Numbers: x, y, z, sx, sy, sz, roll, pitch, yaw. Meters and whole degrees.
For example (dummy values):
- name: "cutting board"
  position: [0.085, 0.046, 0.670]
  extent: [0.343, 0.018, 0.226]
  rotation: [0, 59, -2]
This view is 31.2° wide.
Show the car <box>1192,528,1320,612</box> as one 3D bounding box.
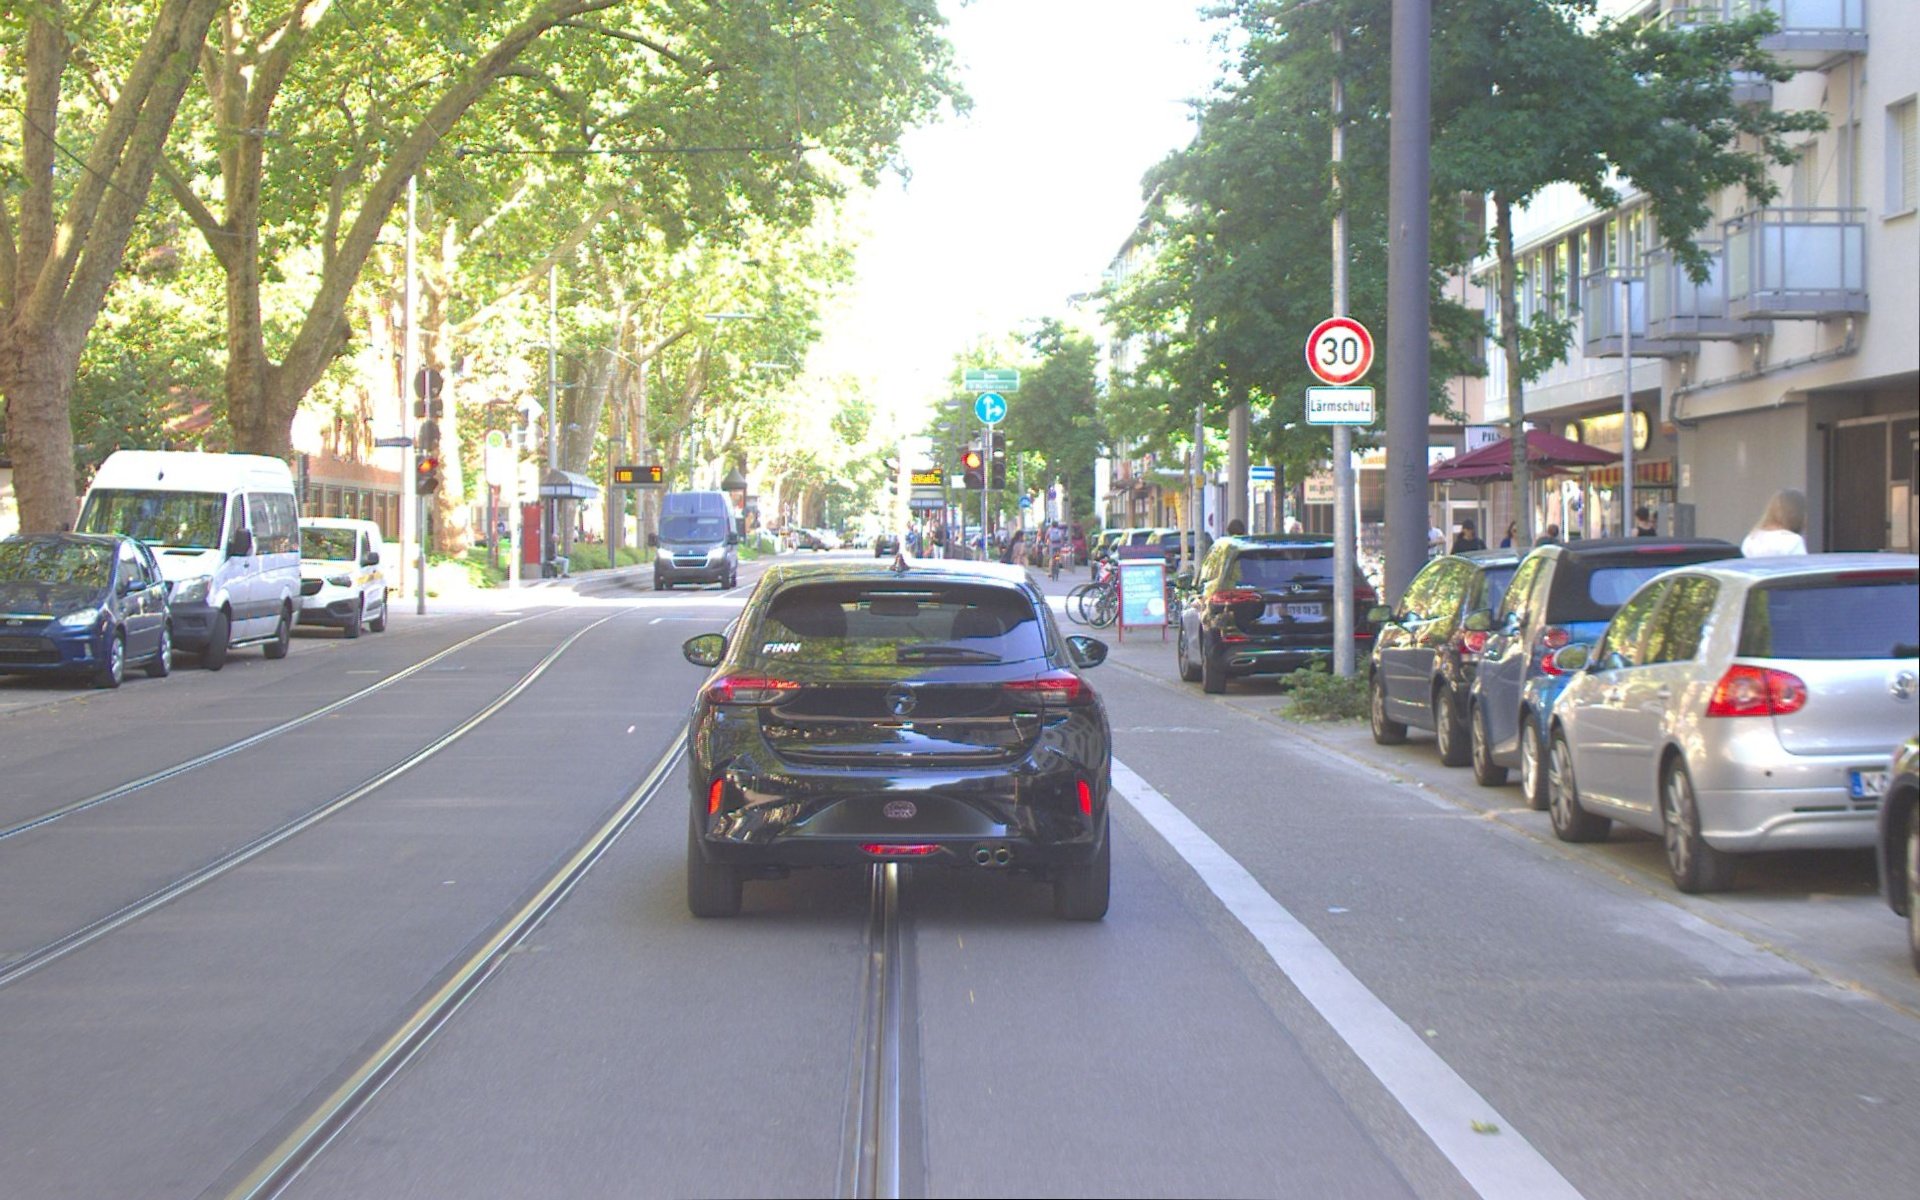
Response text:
- name: "car"
  position: [5.997, -0.622, 69.341]
  extent: [1.995, 1.634, 3.998]
  rotation: [1, 1, 13]

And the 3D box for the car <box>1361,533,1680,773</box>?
- name: "car"
  position: [3.907, 0.314, 24.504]
  extent: [1.718, 1.568, 3.682]
  rotation: [0, 1, 1]

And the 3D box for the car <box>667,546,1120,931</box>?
- name: "car"
  position: [-0.293, 0.503, 14.931]
  extent: [1.679, 1.417, 3.628]
  rotation: [2, 1, -1]

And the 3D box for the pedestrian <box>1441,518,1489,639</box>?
- name: "pedestrian"
  position: [7.254, -0.316, 49.383]
  extent: [0.629, 1.727, 0.632]
  rotation: [0, 1, 4]

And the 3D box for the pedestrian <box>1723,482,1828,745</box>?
- name: "pedestrian"
  position: [5.188, 0.078, 21.860]
  extent: [0.600, 1.646, 0.630]
  rotation: [1, 1, 16]

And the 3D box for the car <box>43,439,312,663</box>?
- name: "car"
  position: [-9.624, -0.626, 42.769]
  extent: [2.092, 2.575, 5.997]
  rotation: [0, 1, -1]

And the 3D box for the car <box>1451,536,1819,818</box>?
- name: "car"
  position: [3.993, 0.403, 20.769]
  extent: [1.651, 1.568, 3.083]
  rotation: [0, 1, 1]

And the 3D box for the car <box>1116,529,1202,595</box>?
- name: "car"
  position: [5.268, -1.021, 91.392]
  extent: [1.993, 1.700, 4.000]
  rotation: [0, 1, -1]

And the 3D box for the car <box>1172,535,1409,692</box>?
- name: "car"
  position: [3.316, 0.092, 35.212]
  extent: [1.993, 1.503, 4.000]
  rotation: [0, 1, -1]

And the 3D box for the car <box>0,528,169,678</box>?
- name: "car"
  position: [-9.626, -0.012, 36.618]
  extent: [1.754, 1.503, 4.001]
  rotation: [0, 1, -4]

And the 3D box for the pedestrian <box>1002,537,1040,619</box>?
- name: "pedestrian"
  position: [1.187, -0.442, 66.914]
  extent: [0.594, 1.584, 0.893]
  rotation: [0, 1, -8]

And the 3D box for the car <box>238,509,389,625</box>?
- name: "car"
  position: [-9.960, -0.531, 53.208]
  extent: [1.993, 1.711, 4.001]
  rotation: [0, 1, -6]

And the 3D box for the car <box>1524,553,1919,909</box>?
- name: "car"
  position: [3.928, 0.533, 16.412]
  extent: [1.718, 1.485, 3.682]
  rotation: [0, 1, -2]

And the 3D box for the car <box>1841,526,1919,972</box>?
- name: "car"
  position: [4.337, 0.552, 10.931]
  extent: [1.718, 1.568, 4.085]
  rotation: [0, 1, -5]

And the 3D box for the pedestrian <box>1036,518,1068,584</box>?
- name: "pedestrian"
  position: [2.894, -1.539, 108.459]
  extent: [0.856, 2.007, 1.069]
  rotation: [-4, 0, 0]

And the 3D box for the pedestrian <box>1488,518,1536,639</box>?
- name: "pedestrian"
  position: [7.933, -0.310, 49.423]
  extent: [0.629, 1.727, 0.632]
  rotation: [0, 1, 4]

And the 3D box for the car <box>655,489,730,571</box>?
- name: "car"
  position: [-7.413, -1.929, 94.887]
  extent: [1.993, 2.204, 5.103]
  rotation: [0, 1, -5]

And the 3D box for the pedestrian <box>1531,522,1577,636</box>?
- name: "pedestrian"
  position: [9.078, -0.328, 52.552]
  extent: [0.629, 1.727, 0.632]
  rotation: [0, 1, 5]

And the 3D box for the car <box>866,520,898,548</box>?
- name: "car"
  position: [-4.655, -3.945, 205.731]
  extent: [1.750, 1.646, 4.000]
  rotation: [0, 1, 1]
